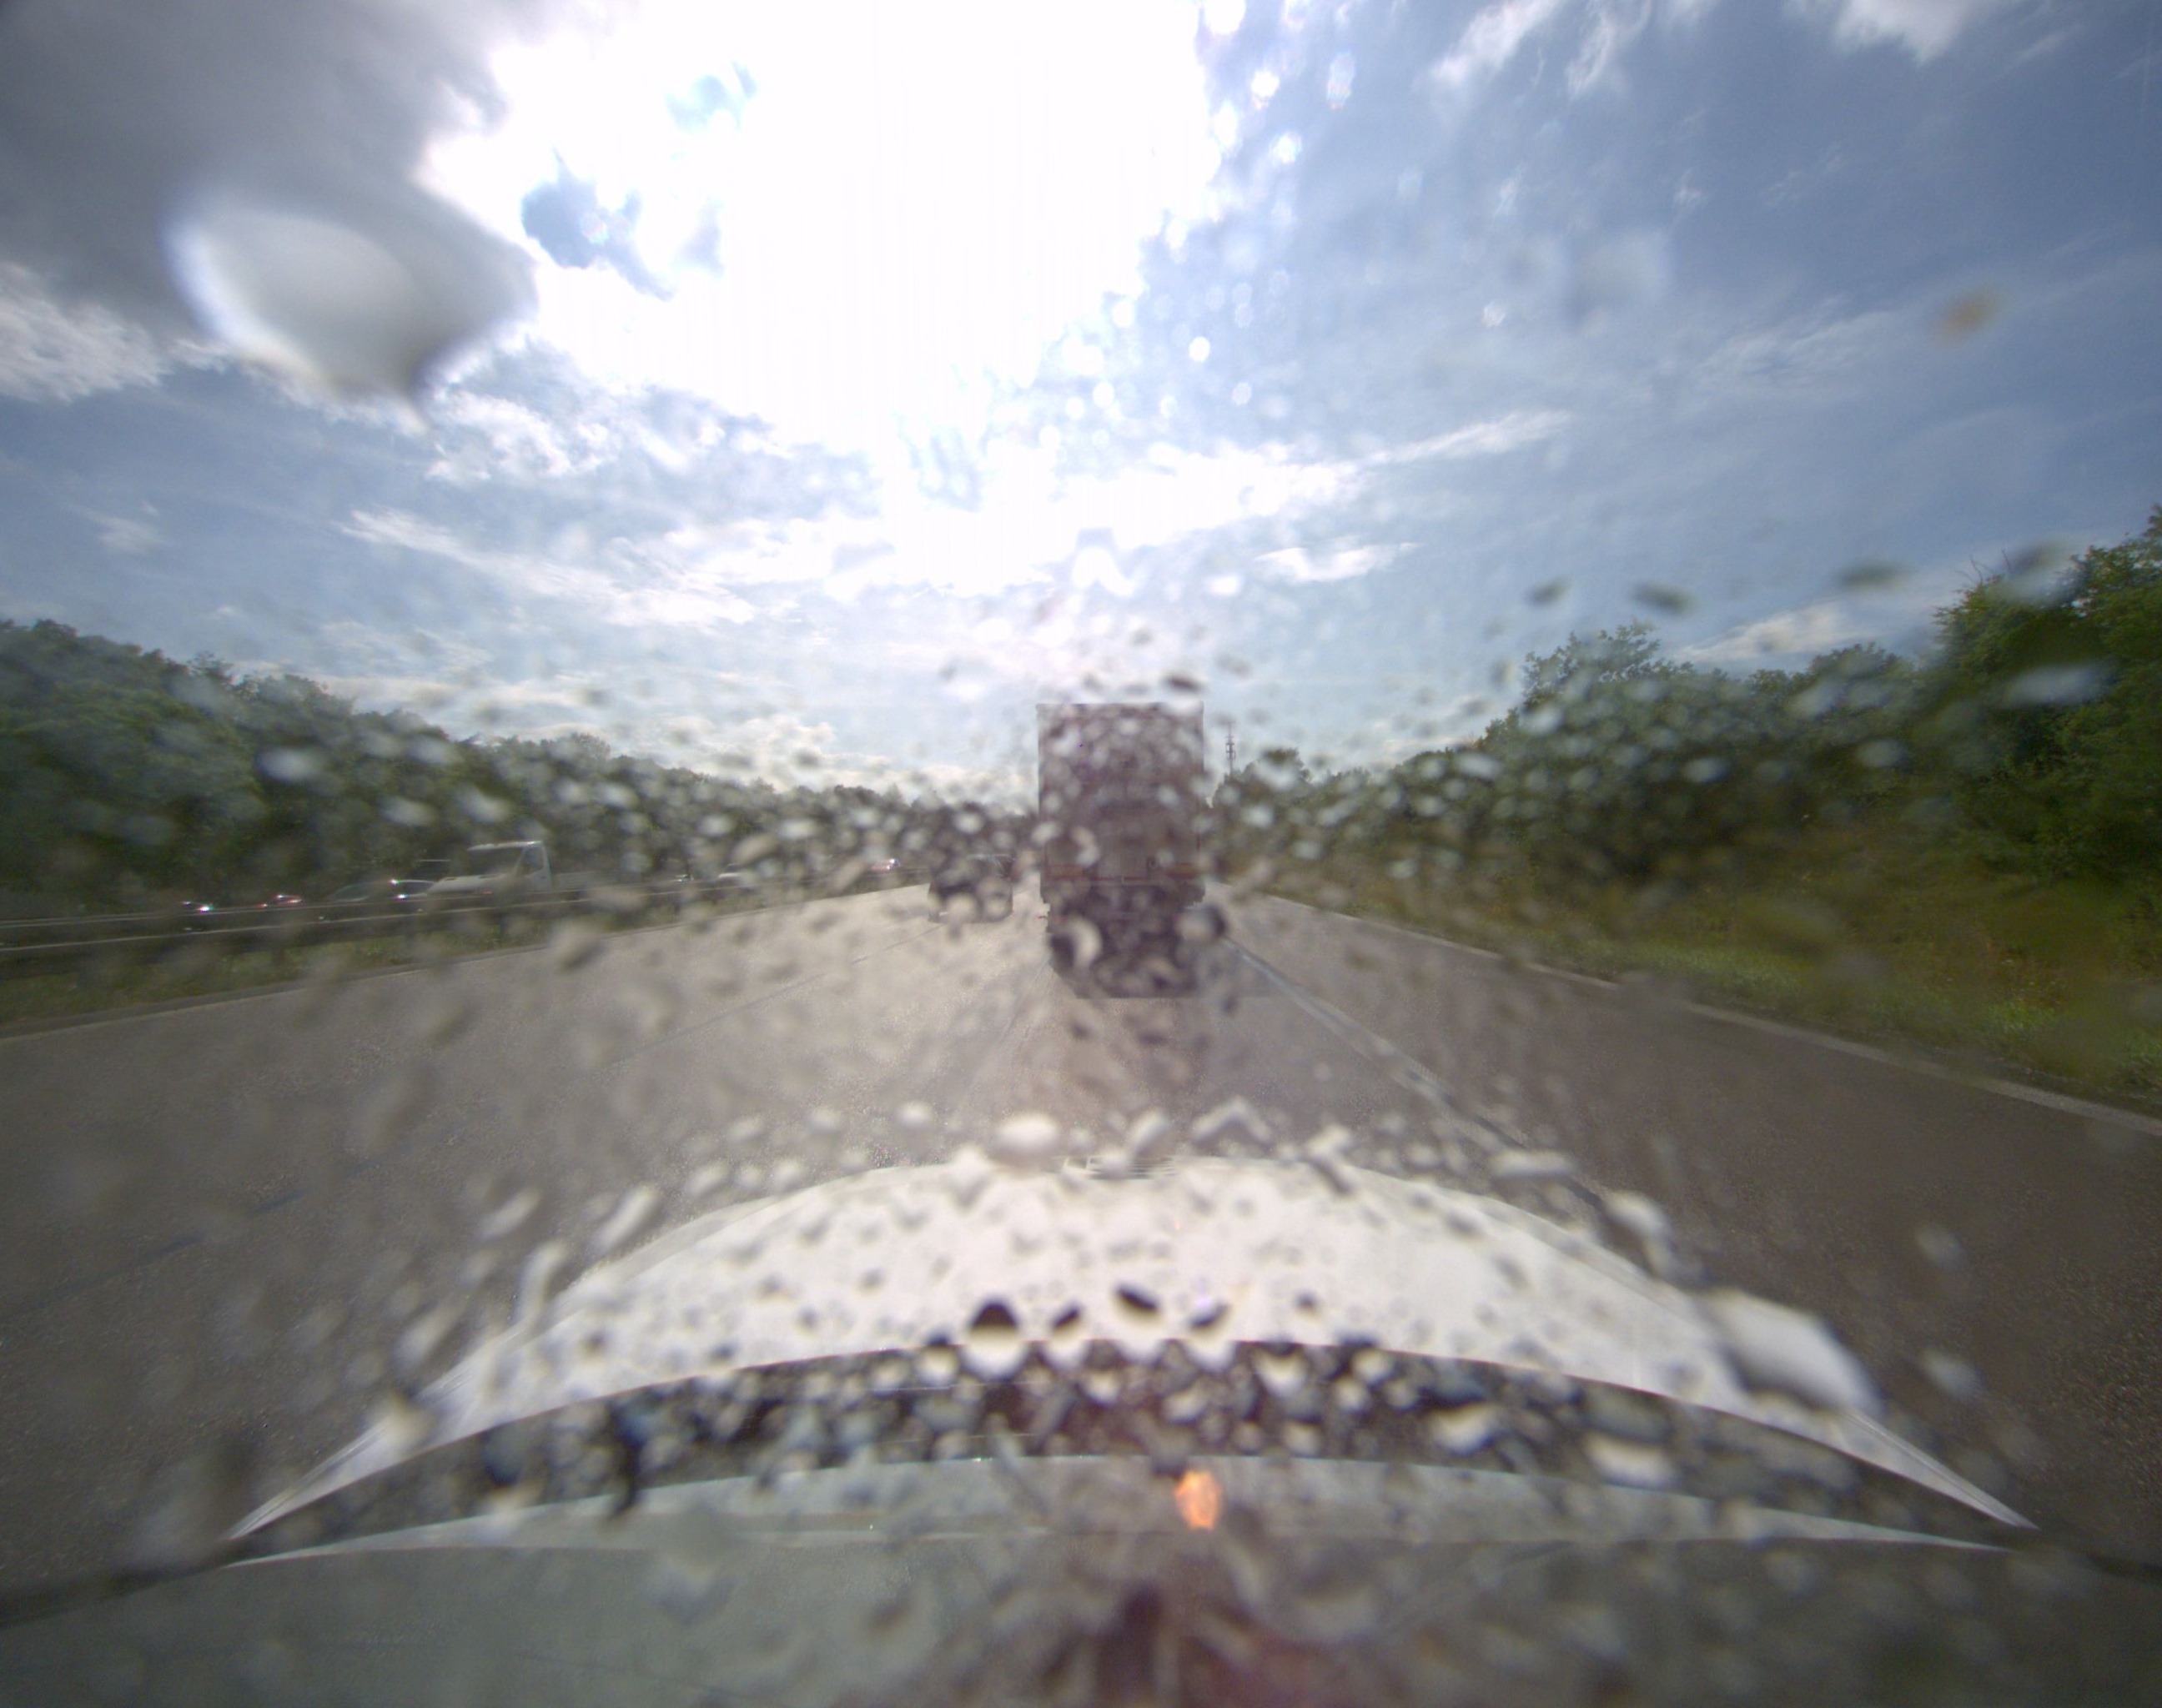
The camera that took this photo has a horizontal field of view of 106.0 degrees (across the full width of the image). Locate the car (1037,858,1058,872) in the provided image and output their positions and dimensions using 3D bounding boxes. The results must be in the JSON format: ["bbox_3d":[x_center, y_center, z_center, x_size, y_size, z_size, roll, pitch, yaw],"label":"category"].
[{"bbox_3d":[-3.819,1.240,92.975,1.985,1.565,4.760,0,-1,3],"label":"car"}]

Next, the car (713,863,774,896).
[{"bbox_3d":[-22.027,1.628,53.358,1.823,2.045,4.781,0,-1,2],"label":"car"}]

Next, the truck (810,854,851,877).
[{"bbox_3d":[-45.434,2.082,148.002,3.759,4.117,7.074,-1,-1,16],"label":"truck"}]

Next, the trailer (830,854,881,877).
[{"bbox_3d":[-43.122,2.145,156.148,3.759,4.117,11.774,-1,-1,16],"label":"trailer"}]

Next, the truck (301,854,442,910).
[{"bbox_3d":[-57.257,2.151,66.118,3.772,4.234,8.423,0,-1,3],"label":"truck"}]

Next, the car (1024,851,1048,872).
[{"bbox_3d":[-4.570,0.782,83.376,1.970,2.054,4.760,0,-1,3],"label":"car"}]

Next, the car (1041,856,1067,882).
[{"bbox_3d":[-1.973,1.096,60.182,1.687,1.805,3.976,0,-1,0],"label":"car"}]

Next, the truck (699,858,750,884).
[{"bbox_3d":[-51.614,2.425,117.987,3.767,3.660,6.719,0,-1,7],"label":"truck"}]

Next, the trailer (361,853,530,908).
[{"bbox_3d":[-56.907,2.150,73.809,3.773,4.405,13.812,-2,0,3],"label":"trailer"}]

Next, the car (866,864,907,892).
[{"bbox_3d":[-14.843,1.826,62.432,1.823,2.045,4.781,0,-1,2],"label":"car"}]

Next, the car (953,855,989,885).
[{"bbox_3d":[-6.748,0.966,50.280,1.687,1.805,3.976,0,-1,0],"label":"car"}]

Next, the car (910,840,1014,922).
[{"bbox_3d":[-3.048,0.670,21.946,2.268,1.954,4.817,0,-1,-2],"label":"car"}]

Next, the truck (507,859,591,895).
[{"bbox_3d":[-55.692,2.341,85.530,3.772,3.589,7.359,0,-1,3],"label":"truck"}]

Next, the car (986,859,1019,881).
[{"bbox_3d":[-6.194,1.274,64.515,1.901,1.636,4.620,-1,-1,3],"label":"car"}]

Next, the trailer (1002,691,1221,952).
[{"bbox_3d":[0.643,-0.481,19.236,3.272,3.898,14.132,0,0,1],"label":"trailer"}]

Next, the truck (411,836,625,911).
[{"bbox_3d":[-15.889,0.524,23.513,2.248,1.894,5.448,0,-1,2],"label":"truck"}]

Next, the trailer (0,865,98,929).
[{"bbox_3d":[-56.828,2.250,39.424,3.337,3.216,12.472,-2,0,0],"label":"trailer"}]
